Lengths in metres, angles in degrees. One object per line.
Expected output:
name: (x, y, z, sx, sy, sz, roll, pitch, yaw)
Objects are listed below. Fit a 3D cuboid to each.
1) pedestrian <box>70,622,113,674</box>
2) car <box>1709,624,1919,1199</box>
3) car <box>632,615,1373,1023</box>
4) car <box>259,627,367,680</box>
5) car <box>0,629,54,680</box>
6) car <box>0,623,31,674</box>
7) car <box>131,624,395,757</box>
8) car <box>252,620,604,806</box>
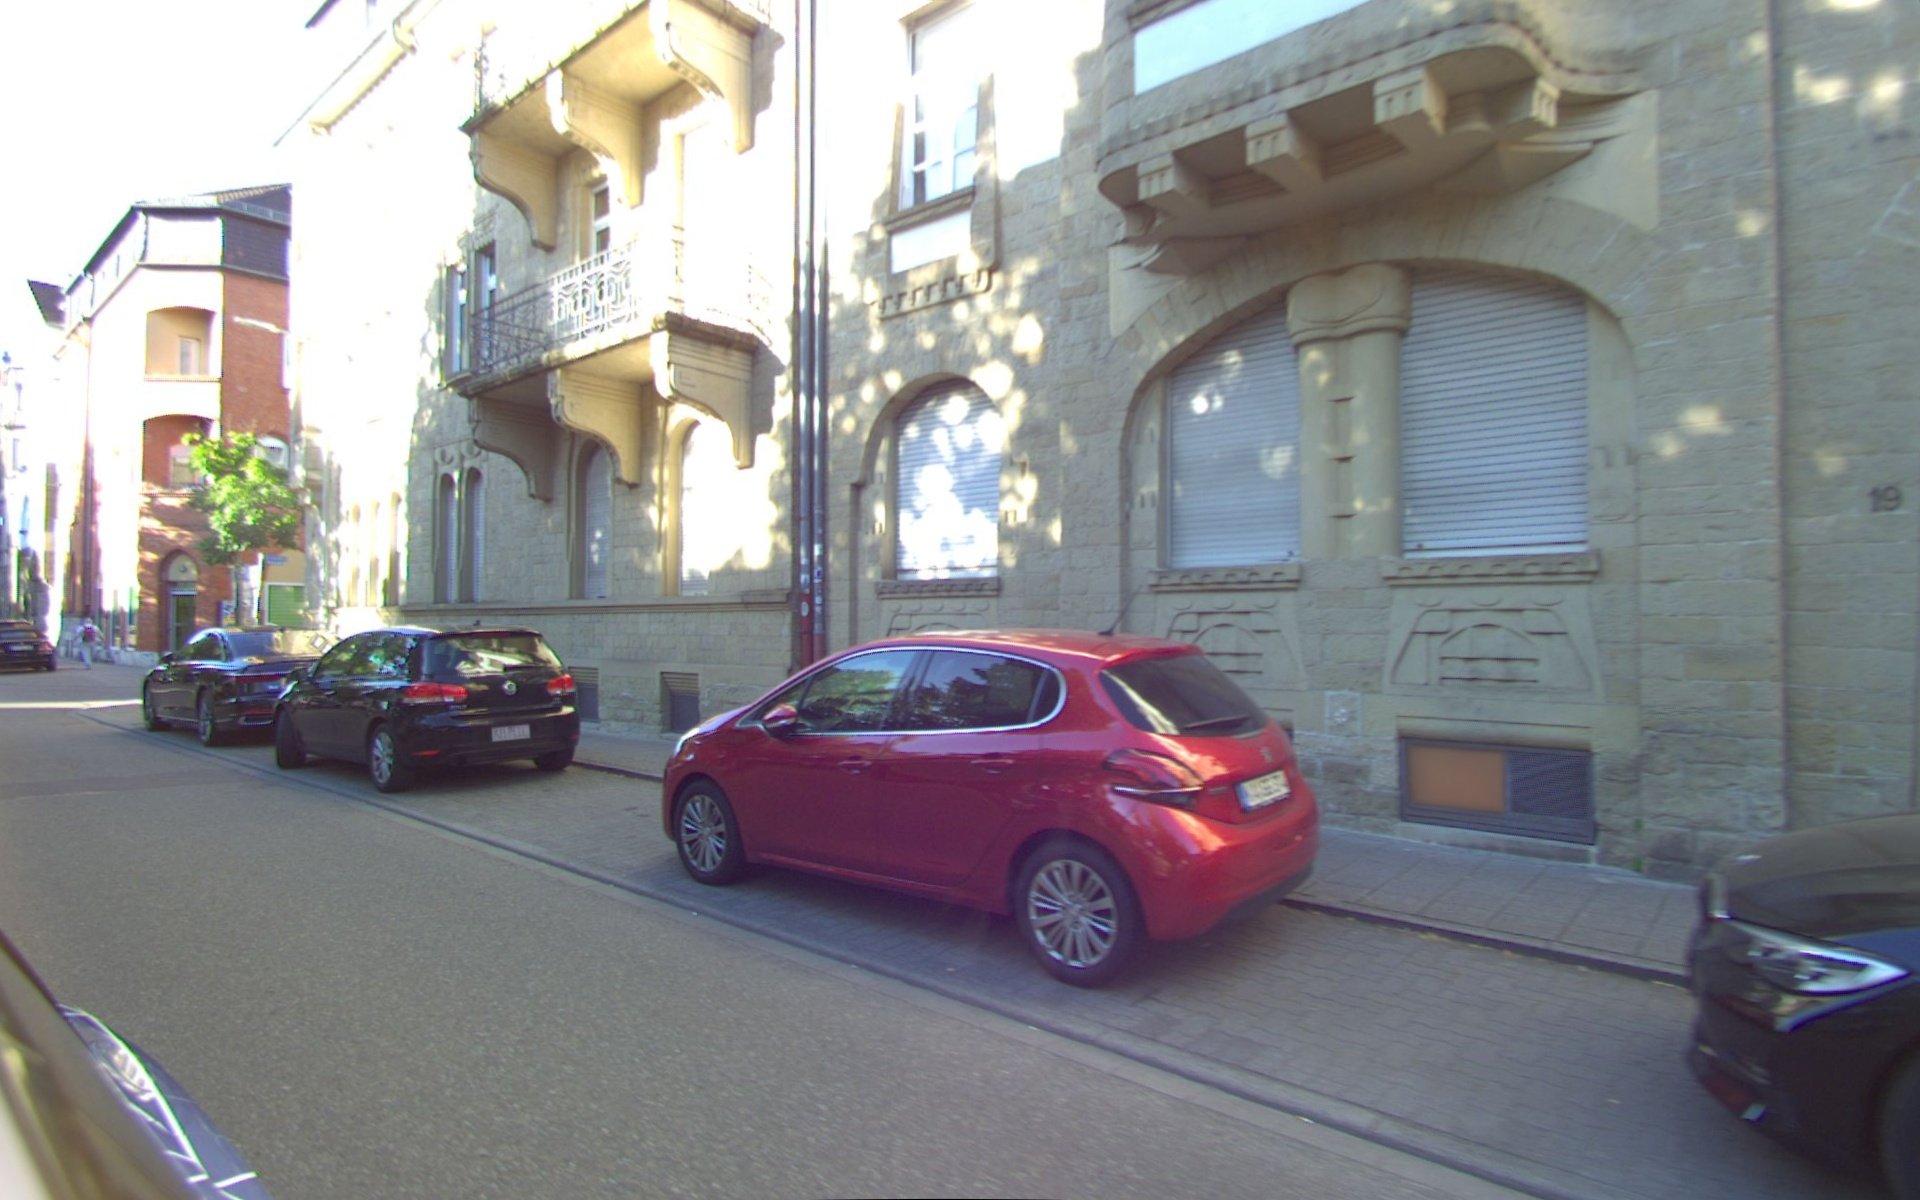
pedestrian: (-27.666, 1.503, 32.226, 1.053, 1.589, 0.879, 1, 0, 41)
car: (4.130, 0.763, 1.630, 4.548, 1.441, 1.658, -2, -1, 42)
car: (0.020, 0.851, 5.525, 3.833, 1.464, 1.613, -2, -1, 39)
car: (-20.180, 1.598, 31.472, 4.656, 1.480, 1.618, -1, -1, 41)
car: (-29.563, 1.657, 31.409, 4.331, 1.421, 1.619, -1, 0, 41)
car: (-33.900, 1.658, 35.280, 4.346, 1.693, 1.653, -1, -1, 39)
car: (-9.686, 1.095, 13.890, 4.895, 1.437, 1.793, -1, 0, 41)
car: (-5.399, 0.951, 10.068, 4.024, 1.464, 1.679, -1, -2, 40)
